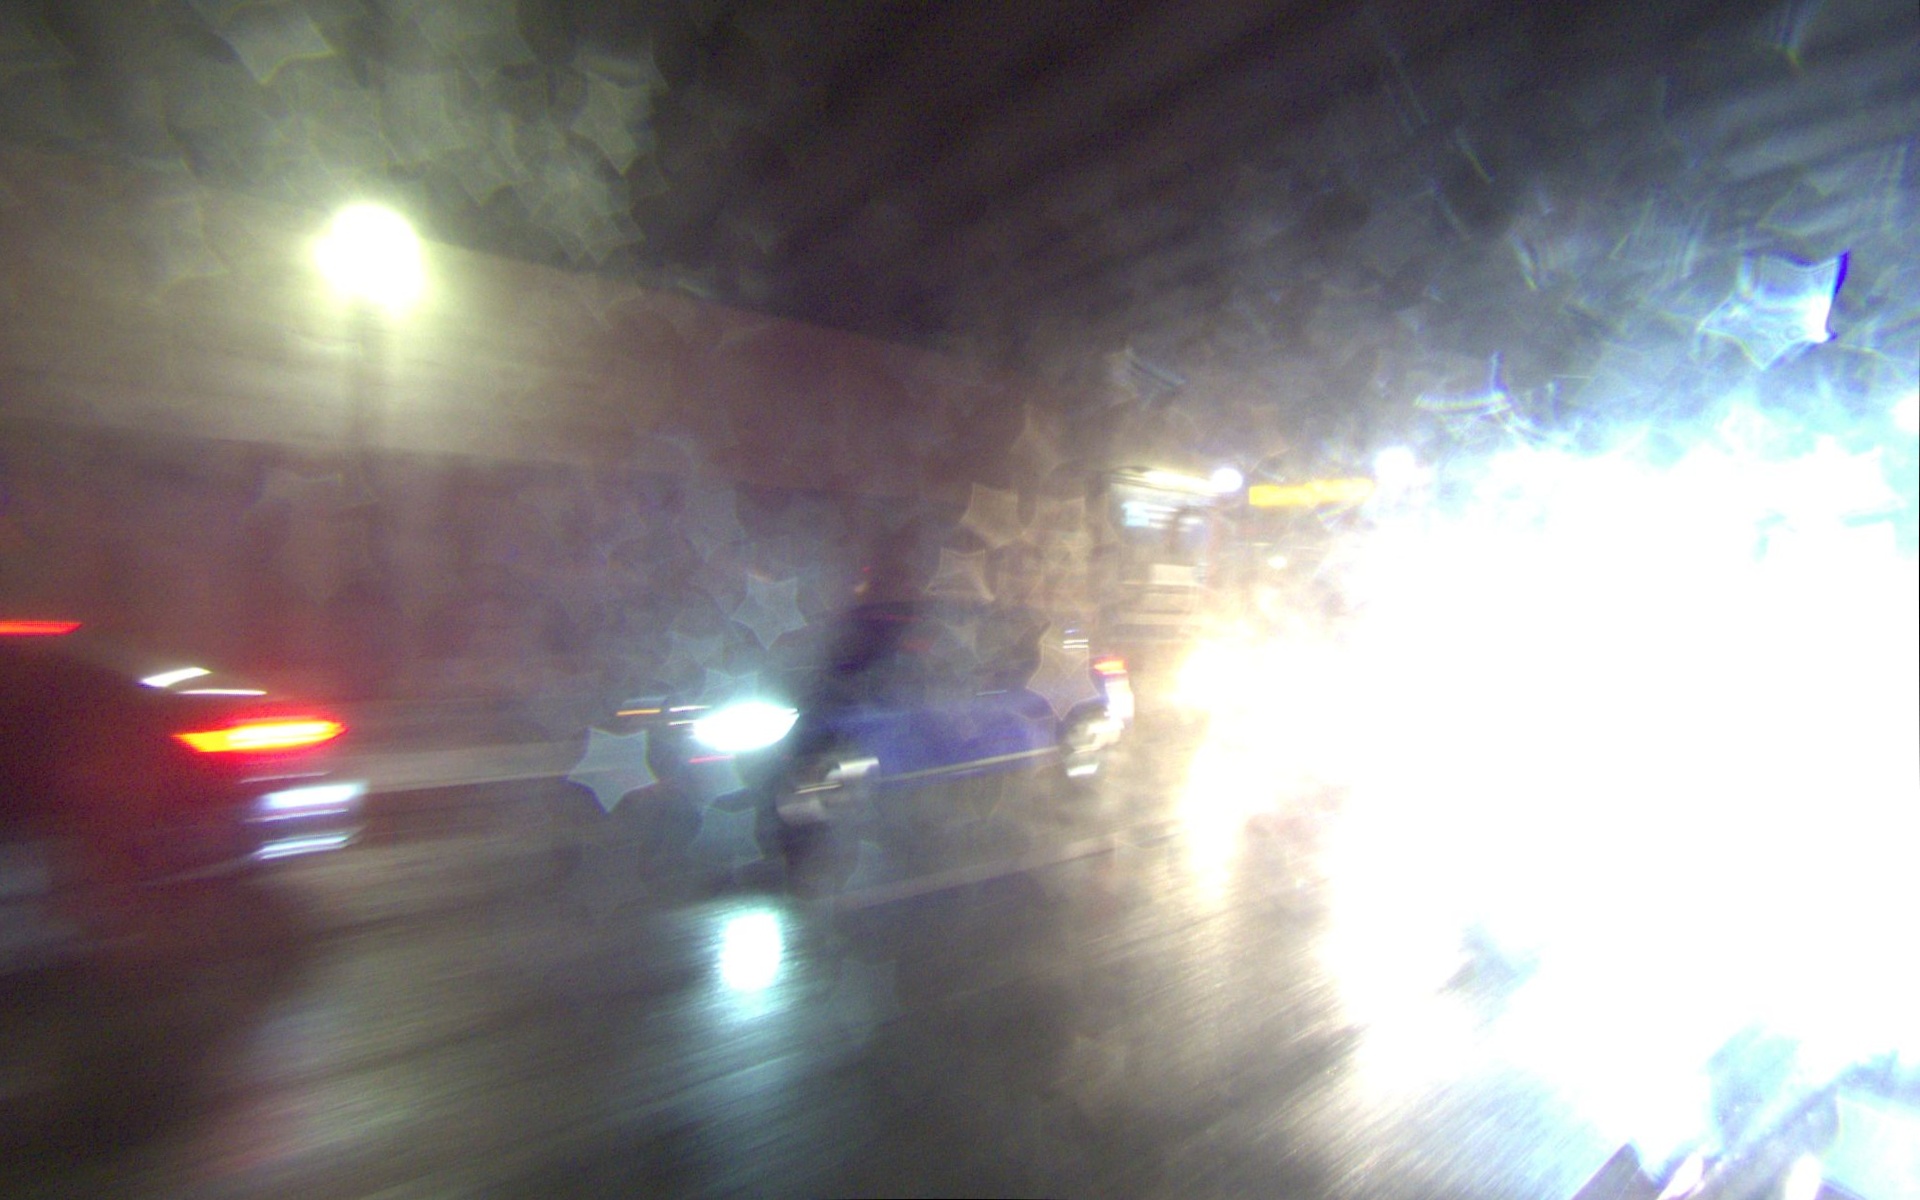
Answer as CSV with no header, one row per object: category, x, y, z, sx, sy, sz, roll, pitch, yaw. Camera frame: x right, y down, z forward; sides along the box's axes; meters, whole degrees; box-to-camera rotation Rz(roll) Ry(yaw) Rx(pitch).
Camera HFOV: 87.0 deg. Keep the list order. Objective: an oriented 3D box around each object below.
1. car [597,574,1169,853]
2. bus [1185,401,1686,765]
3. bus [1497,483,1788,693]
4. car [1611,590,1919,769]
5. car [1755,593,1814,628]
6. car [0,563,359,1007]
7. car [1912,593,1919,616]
car,-0.379,0.612,7.635,4.090,1.505,1.723,0,2,-42
bus,6.896,-0.185,13.496,9.537,3.318,2.736,0,1,-43
bus,13.850,-0.219,20.060,9.537,3.279,2.736,0,1,-43
car,8.542,0.705,10.492,4.086,1.506,1.724,0,-2,-38
car,38.441,0.468,47.271,1.599,1.464,3.928,3,2,32
car,-4.802,0.606,3.311,4.699,1.505,1.725,0,1,-38
car,61.363,0.302,62.771,1.881,1.407,4.801,1,1,24
